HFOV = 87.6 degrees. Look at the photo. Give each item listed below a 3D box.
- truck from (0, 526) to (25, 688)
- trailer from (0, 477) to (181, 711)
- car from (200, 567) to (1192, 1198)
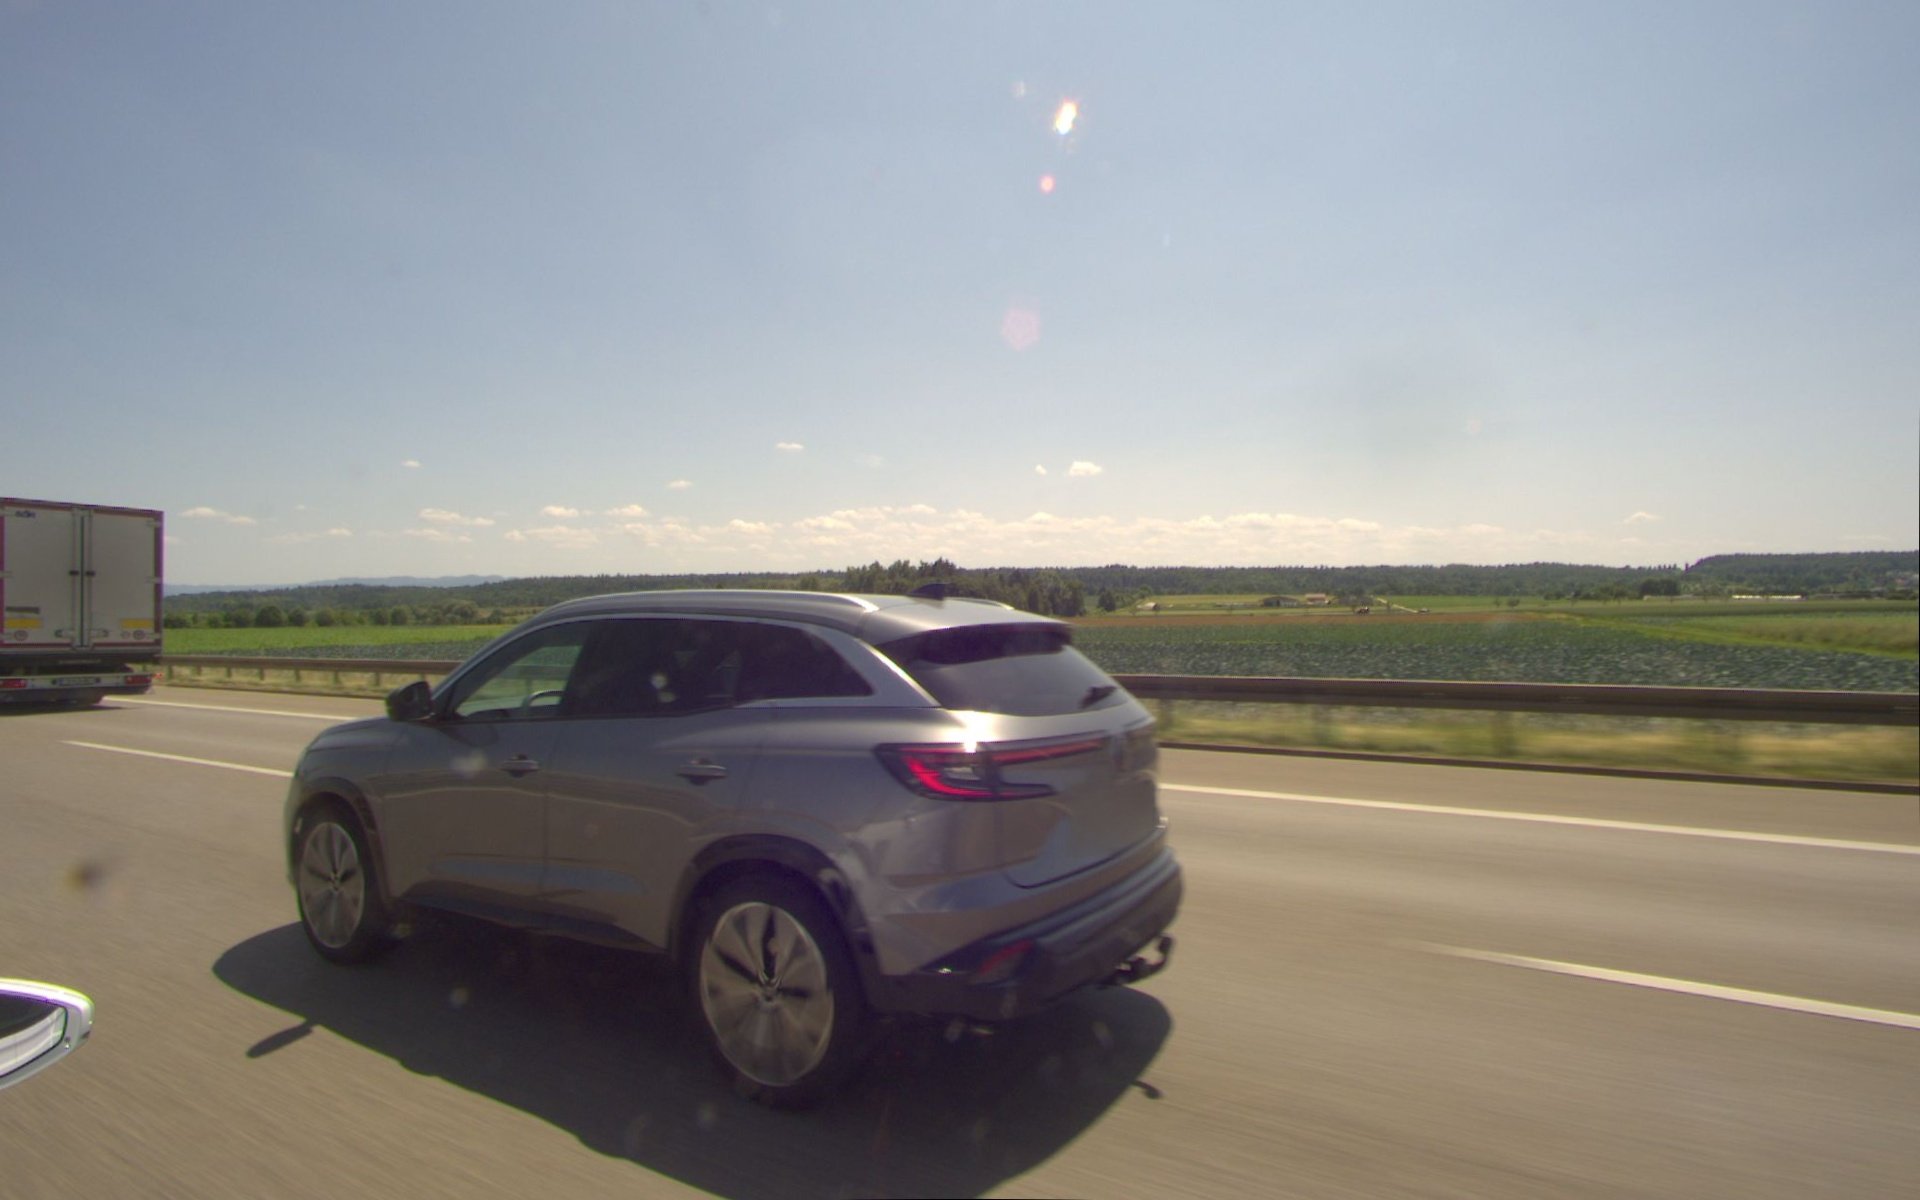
[{"bbox_3d":[-27.816,0.222,26.484,6.781,4.143,2.858,-1,-2,32],"label":"truck"},{"bbox_3d":[-22.307,0.076,22.935,13.107,4.273,2.863,-1,-2,33],"label":"trailer"},{"bbox_3d":[-1.443,0.785,4.658,4.578,1.670,1.847,-1,0,32],"label":"car"}]
